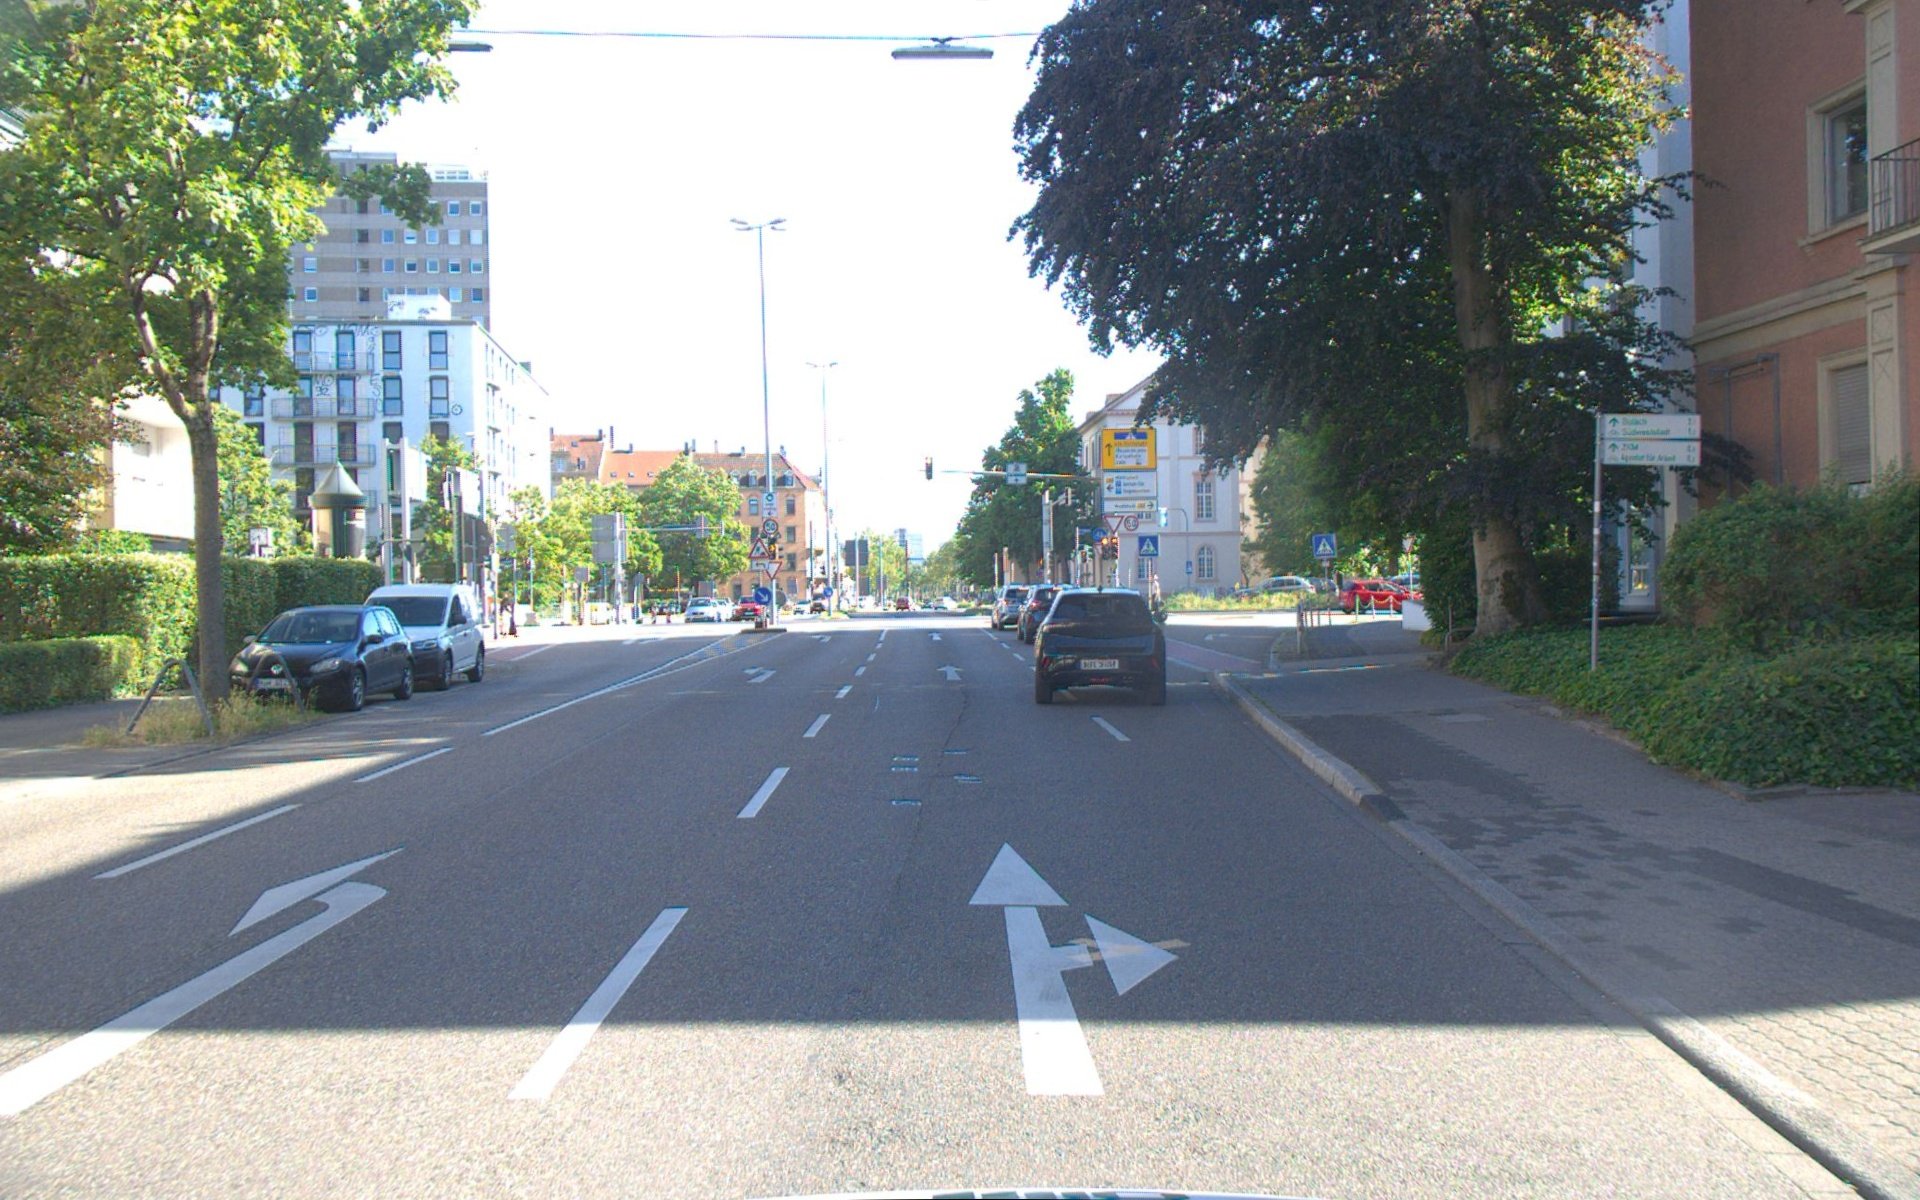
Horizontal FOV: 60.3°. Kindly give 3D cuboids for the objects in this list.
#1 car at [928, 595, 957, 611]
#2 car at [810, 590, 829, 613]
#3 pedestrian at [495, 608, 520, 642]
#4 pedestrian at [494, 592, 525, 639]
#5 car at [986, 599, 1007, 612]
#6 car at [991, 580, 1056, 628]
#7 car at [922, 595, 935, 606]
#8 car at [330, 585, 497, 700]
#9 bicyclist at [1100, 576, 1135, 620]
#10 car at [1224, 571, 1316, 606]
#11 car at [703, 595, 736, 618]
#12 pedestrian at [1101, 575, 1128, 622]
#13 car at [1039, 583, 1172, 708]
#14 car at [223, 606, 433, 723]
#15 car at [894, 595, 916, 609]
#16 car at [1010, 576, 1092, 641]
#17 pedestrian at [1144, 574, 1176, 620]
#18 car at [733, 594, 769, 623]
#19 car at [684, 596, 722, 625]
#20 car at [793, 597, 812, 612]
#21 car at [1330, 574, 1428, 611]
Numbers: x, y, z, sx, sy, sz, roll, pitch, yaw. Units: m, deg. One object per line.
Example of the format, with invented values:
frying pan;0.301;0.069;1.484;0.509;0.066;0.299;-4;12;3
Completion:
car;-2.071;0.382;196.980;2.130;1.728;4.001;-1;1;21
car;-14.375;0.135;169.305;1.774;2.171;3.998;-2;1;-3
pedestrian;-16.140;0.900;59.018;0.656;1.186;0.668;-2;0;-36
pedestrian;-16.337;0.547;60.026;0.665;1.678;0.827;-1;0;43
car;4.787;0.701;214.251;1.821;1.689;4.003;1;0;14
car;2.063;0.116;54.895;1.793;1.478;3.986;-2;1;-2
car;-4.683;0.090;248.444;1.774;1.473;3.998;-2;1;-3
car;-9.688;0.679;29.704;1.783;1.866;4.558;-1;1;-5
bicyclist;6.116;-0.087;64.335;1.147;1.662;0.725;-1;0;-19
car;15.297;-0.575;81.707;4.039;1.629;1.818;-2;1;-9
car;-16.539;0.431;113.789;1.837;1.473;3.998;-2;1;-3
pedestrian;5.781;-0.049;62.014;0.810;1.731;0.916;-1;0;-8
car;2.012;0.567;23.000;1.708;1.601;3.560;0;0;5
car;-9.263;0.886;24.574;1.637;1.482;4.109;-1;1;-2
car;-6.045;0.184;182.290;1.772;1.431;4.004;-2;1;8
car;2.381;0.194;44.340;1.793;1.606;3.838;-2;1;-2
pedestrian;7.593;-0.124;62.928;1.021;1.688;0.783;-2;1;-6
car;-12.461;0.501;98.657;1.755;1.645;3.998;-2;1;-2
car;-15.554;0.613;100.252;1.837;1.645;3.998;-2;1;-3
car;-16.808;0.442;176.381;1.837;1.473;3.998;-2;1;-3
car;18.450;-0.329;72.917;3.796;1.478;1.776;-2;1;-4
